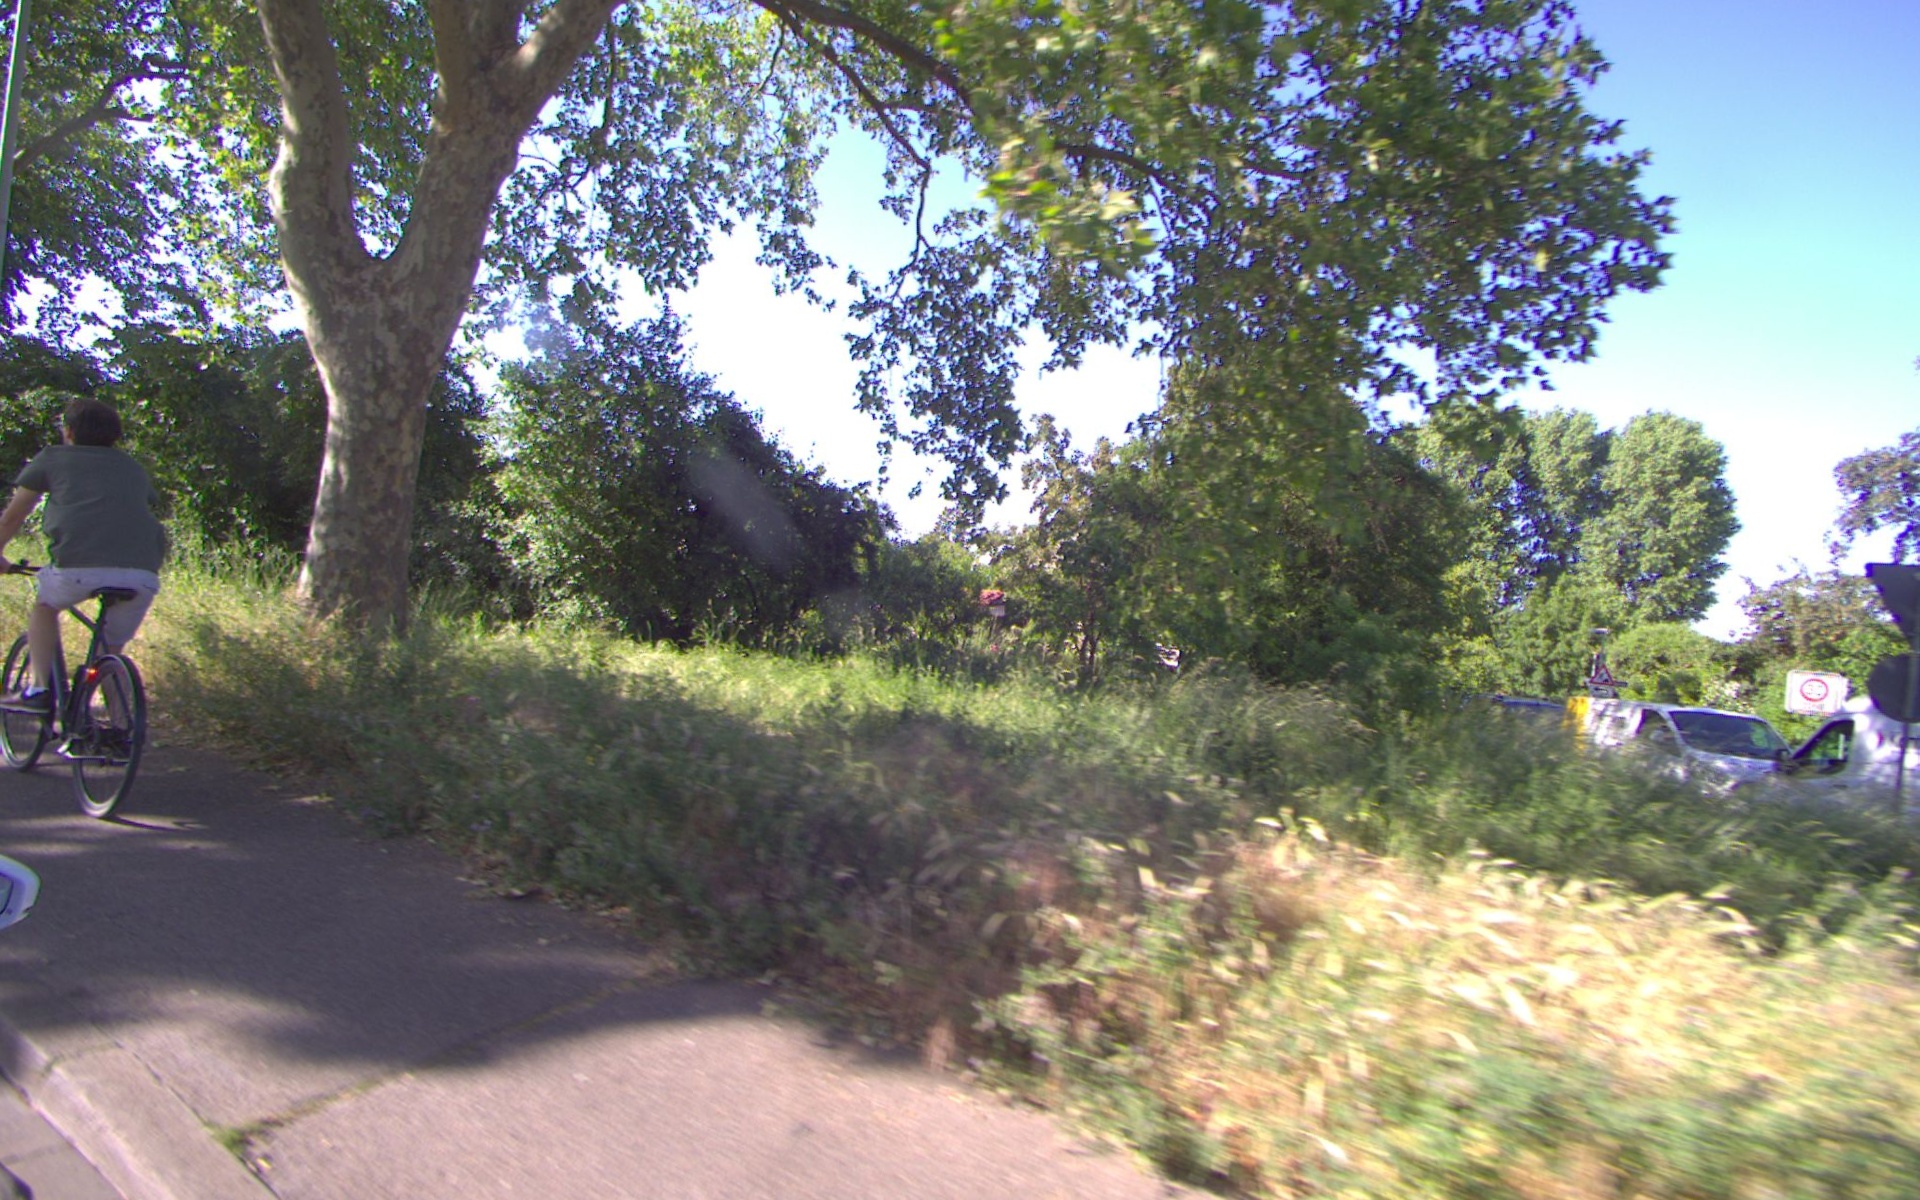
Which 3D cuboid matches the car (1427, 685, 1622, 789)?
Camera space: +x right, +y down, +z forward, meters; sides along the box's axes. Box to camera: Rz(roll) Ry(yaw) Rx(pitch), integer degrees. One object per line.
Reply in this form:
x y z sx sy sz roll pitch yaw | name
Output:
13.584 3.212 24.656 2.249 1.895 5.157 7 -3 8 | car

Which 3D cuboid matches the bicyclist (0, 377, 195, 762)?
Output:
-4.286 -0.144 4.777 0.894 1.648 0.614 7 0 31 | bicyclist

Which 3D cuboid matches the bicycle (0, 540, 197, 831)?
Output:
-4.414 0.329 4.843 1.793 1.166 0.441 6 -2 31 | bicycle

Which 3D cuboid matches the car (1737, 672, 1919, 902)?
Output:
11.636 2.199 11.234 2.285 2.466 5.008 7 -3 8 | car

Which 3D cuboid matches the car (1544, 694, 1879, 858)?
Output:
12.505 2.815 17.345 2.249 1.964 5.157 7 -3 8 | car
